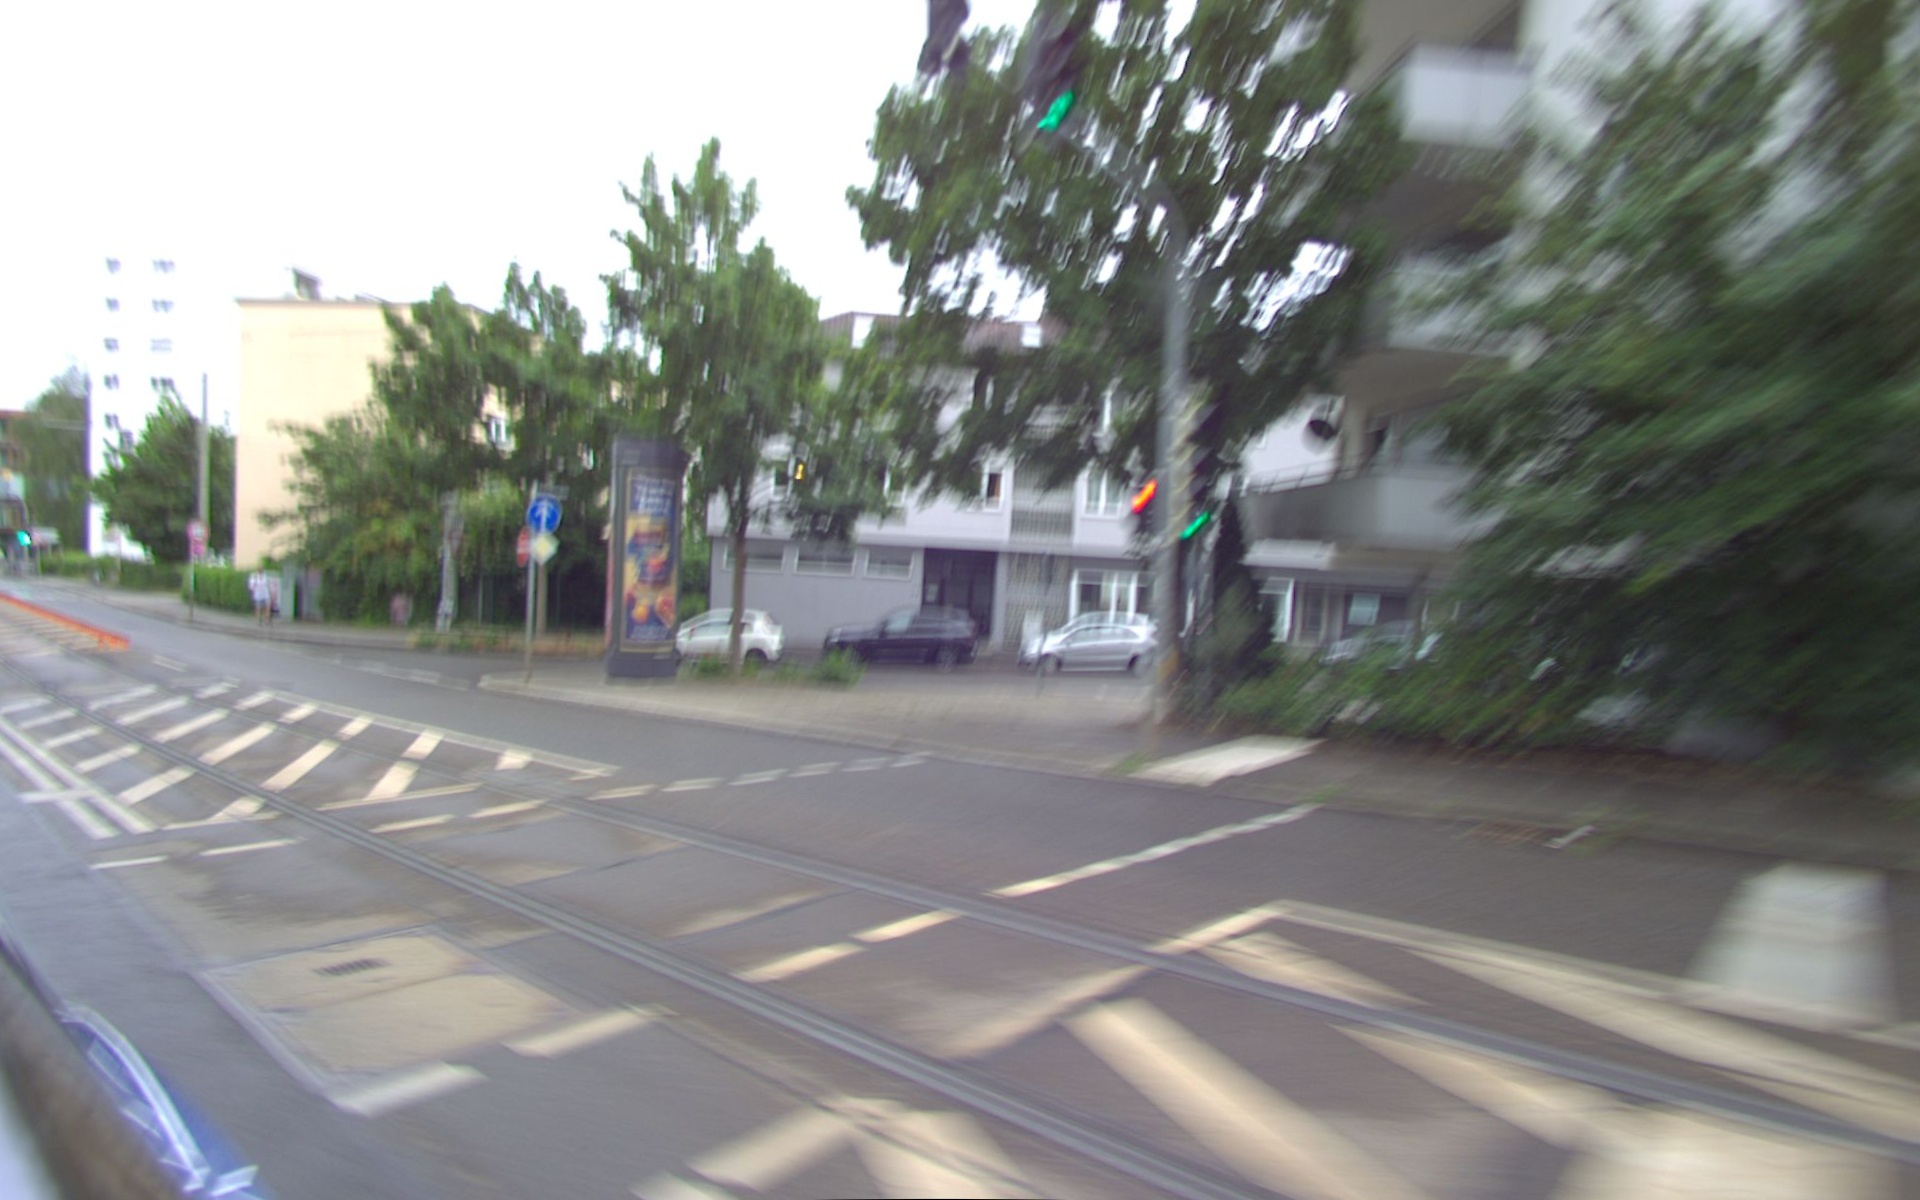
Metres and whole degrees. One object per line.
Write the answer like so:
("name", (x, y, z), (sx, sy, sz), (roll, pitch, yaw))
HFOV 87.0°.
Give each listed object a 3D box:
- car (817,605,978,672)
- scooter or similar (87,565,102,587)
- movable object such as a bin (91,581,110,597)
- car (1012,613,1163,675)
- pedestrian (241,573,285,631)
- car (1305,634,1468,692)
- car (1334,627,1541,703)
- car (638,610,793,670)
("car", (-1.870, 1.121, 30.001), (4.569, 1.718, 1.845), (2, 2, -5))
("scooter or similar", (-49.266, -1.357, 57.621), (0.565, 1.193, 1.601), (0, 3, -44))
("movable object such as a bin", (-50.357, -0.659, 59.305), (0.759, 0.888, 0.680), (4, 3, 36))
("car", (3.745, 1.301, 30.267), (4.109, 1.590, 1.845), (2, 2, -5))
("pedestrian", (-23.126, 0.057, 33.565), (1.015, 1.859, 0.911), (3, 3, 36))
("car", (13.009, 1.916, 30.977), (4.137, 1.505, 1.845), (2, 2, -5))
("car", (11.413, 1.536, 24.374), (3.938, 1.529, 2.003), (2, 2, -6))
("car", (-7.107, 1.156, 29.758), (4.099, 1.492, 2.002), (2, 2, -3))
